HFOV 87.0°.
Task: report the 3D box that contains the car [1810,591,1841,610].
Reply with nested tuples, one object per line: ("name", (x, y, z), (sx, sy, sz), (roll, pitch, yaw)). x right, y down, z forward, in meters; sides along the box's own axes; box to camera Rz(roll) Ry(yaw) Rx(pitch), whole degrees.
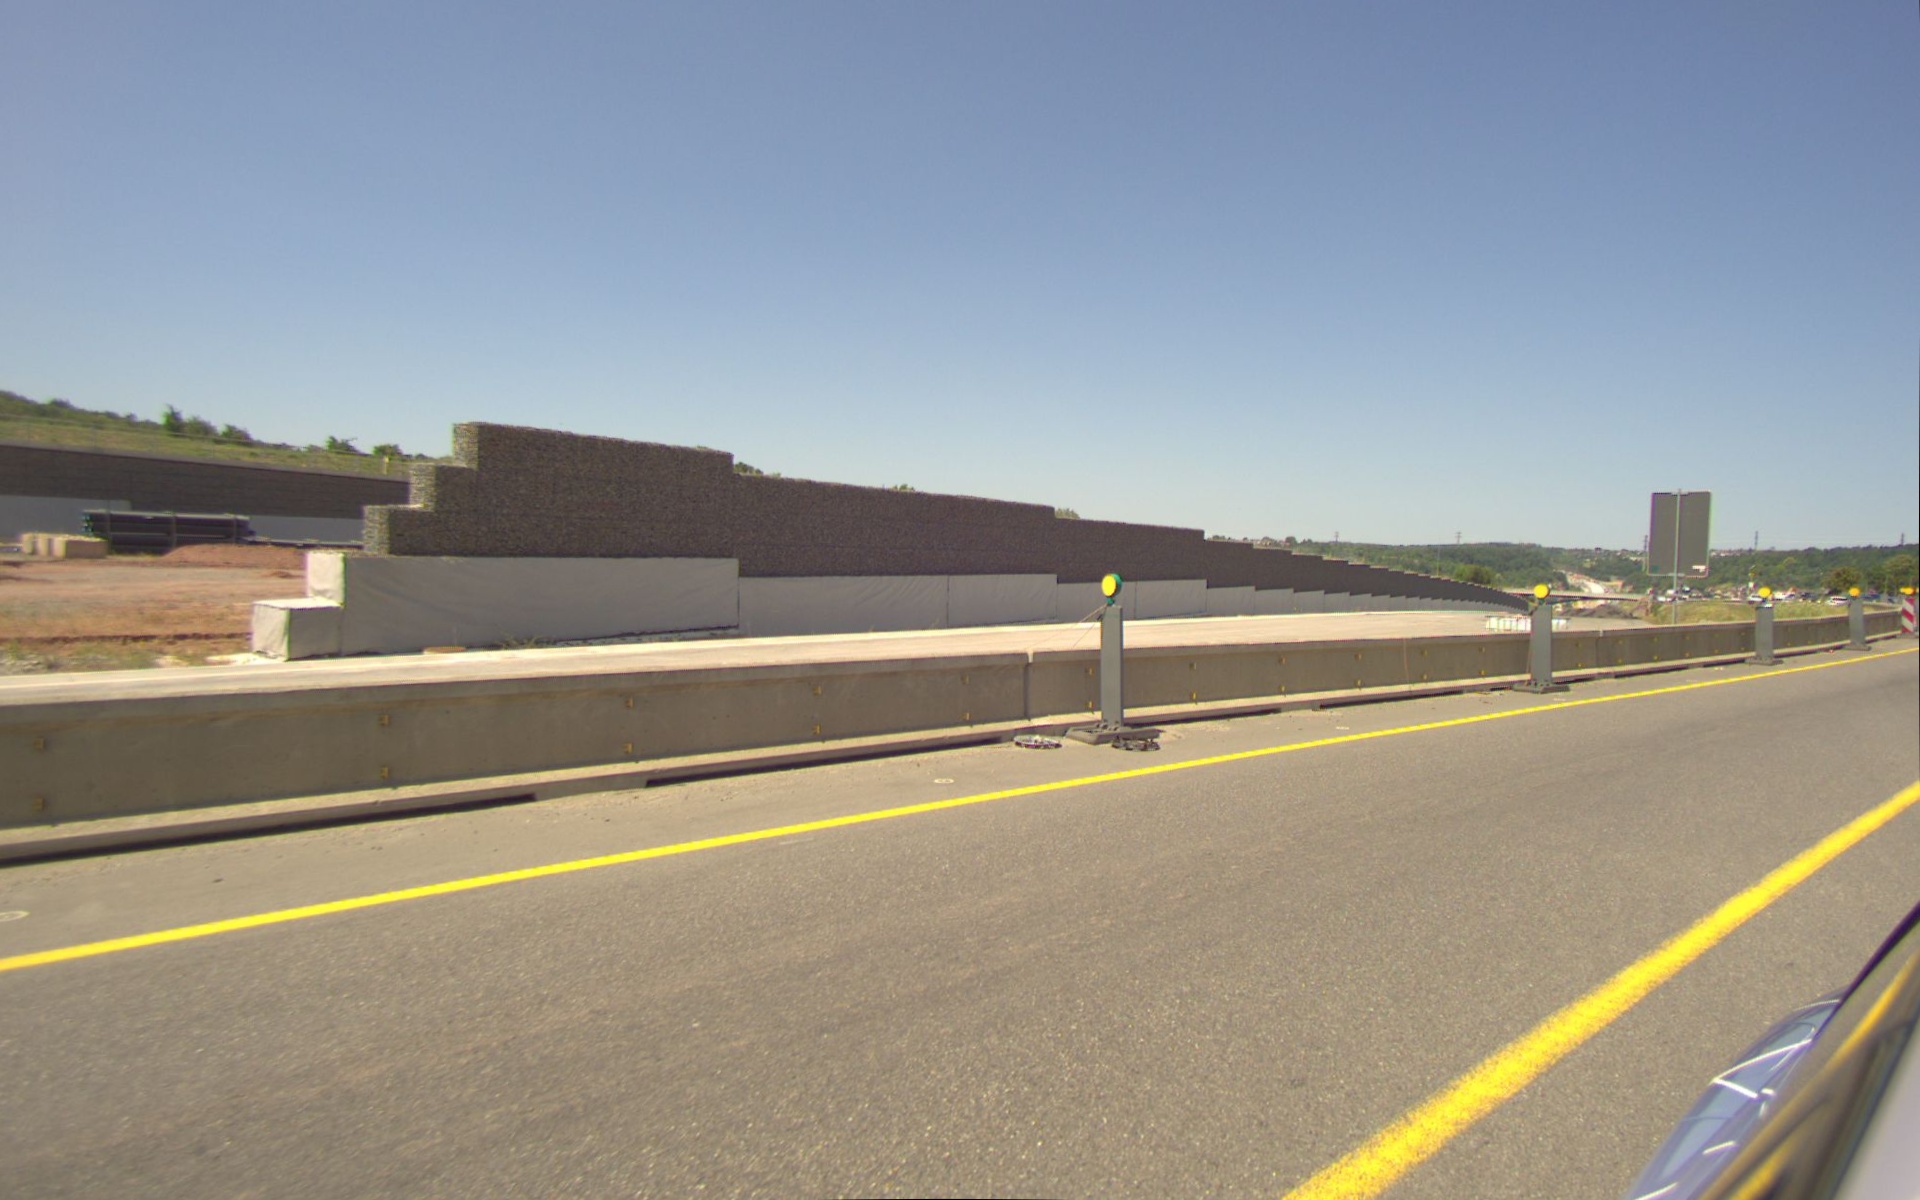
("car", (83.978, 0.027, 98.243), (1.695, 1.705, 3.747), (2, 1, 31))

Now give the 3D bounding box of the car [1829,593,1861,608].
("car", (91.677, 0.055, 104.893), (1.727, 1.497, 4.467), (2, 2, 32))
